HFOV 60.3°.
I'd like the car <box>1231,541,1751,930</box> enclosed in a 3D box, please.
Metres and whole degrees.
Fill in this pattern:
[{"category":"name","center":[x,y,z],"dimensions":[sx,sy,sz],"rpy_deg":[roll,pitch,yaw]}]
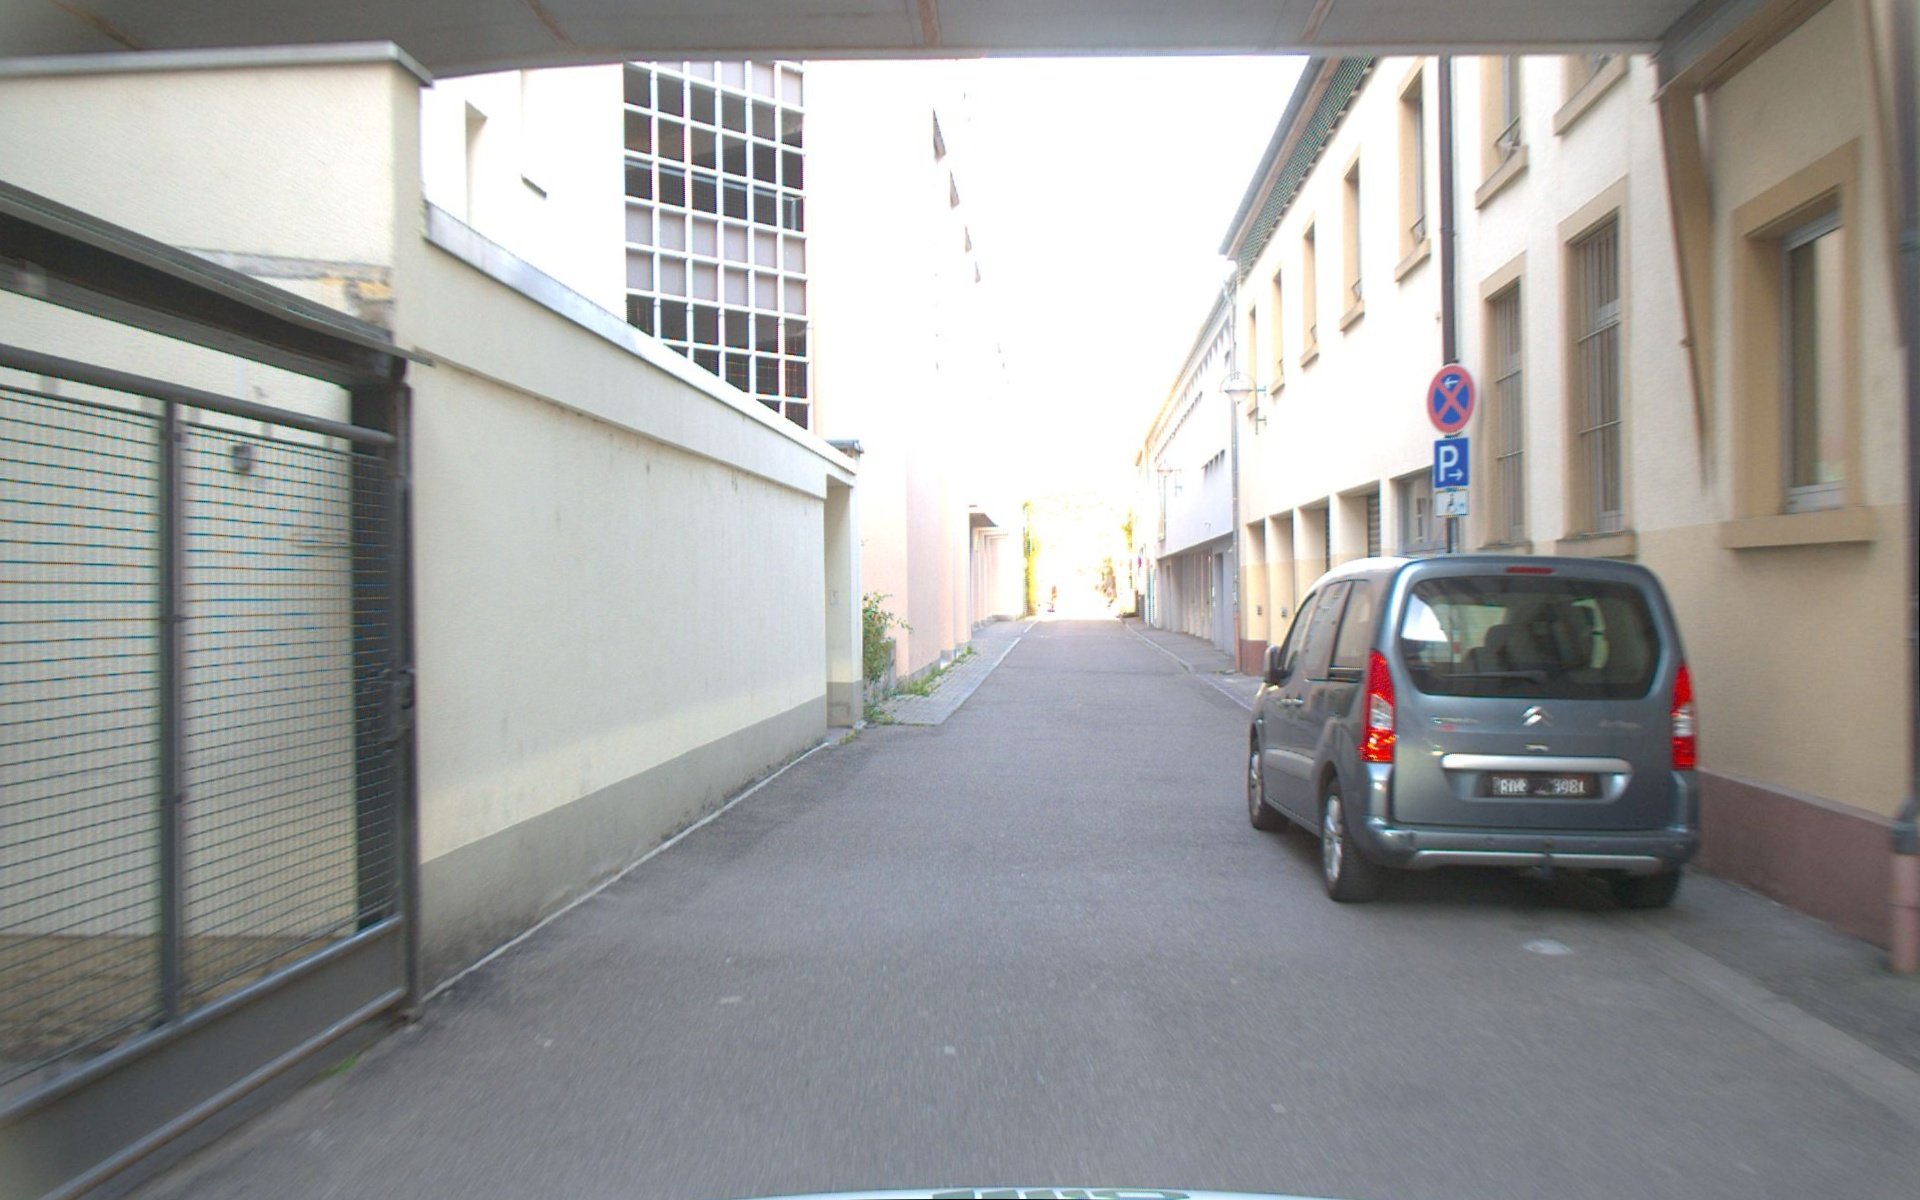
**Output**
[{"category":"car","center":[2.847,0.616,9.895],"dimensions":[1.817,1.786,4.163],"rpy_deg":[2,1,1]}]

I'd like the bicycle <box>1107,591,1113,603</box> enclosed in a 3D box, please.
[{"category":"bicycle","center":[11.271,-0.224,124.249],"dimensions":[0.433,0.931,1.517],"rpy_deg":[-1,0,7]}]

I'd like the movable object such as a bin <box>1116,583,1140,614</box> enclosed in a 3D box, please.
[{"category":"movable object such as a bin","center":[8.361,-0.073,82.129],"dimensions":[1.083,1.461,1.415],"rpy_deg":[-2,2,4]}]

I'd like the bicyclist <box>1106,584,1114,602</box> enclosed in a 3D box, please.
[{"category":"bicyclist","center":[11.263,-0.502,124.241],"dimensions":[0.501,1.346,0.559],"rpy_deg":[-1,0,6]}]
